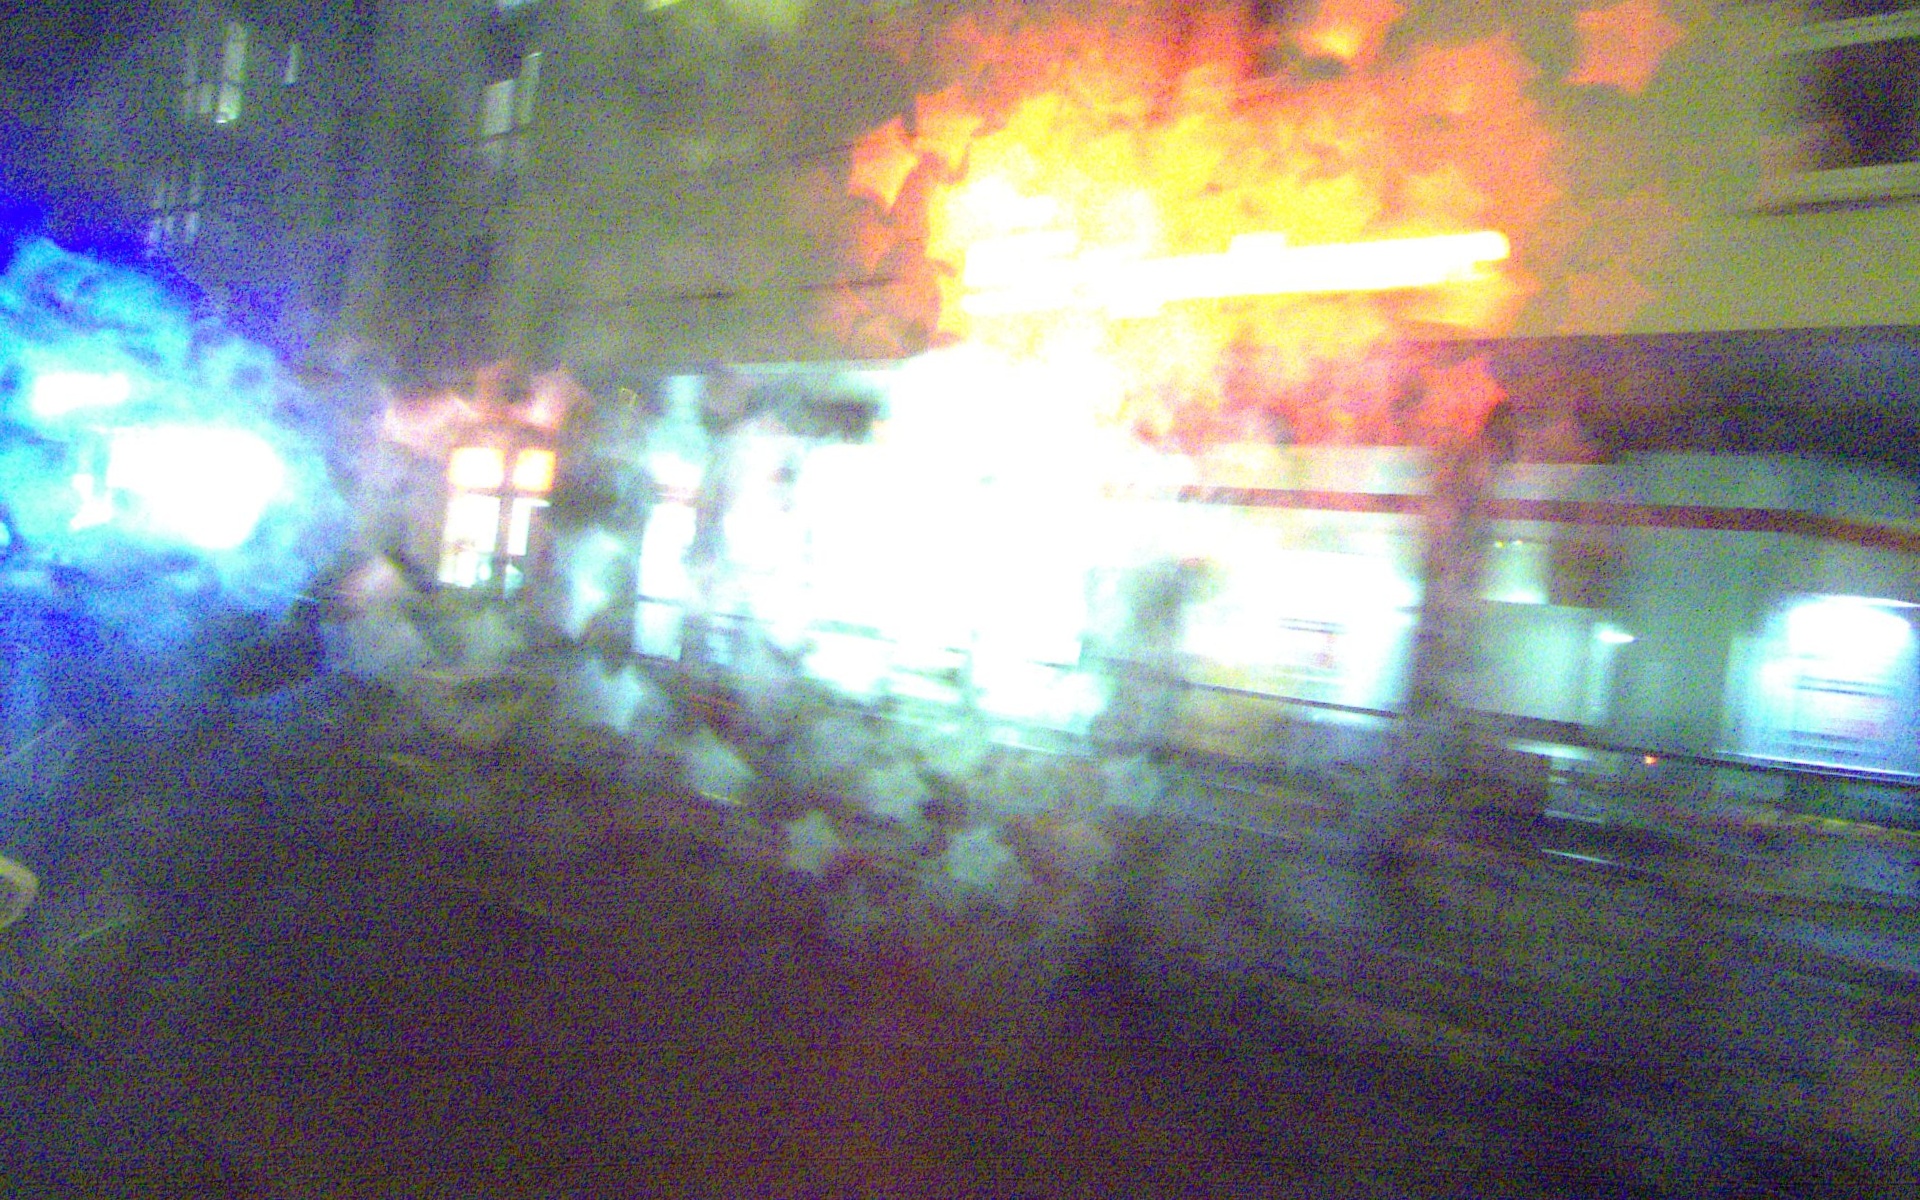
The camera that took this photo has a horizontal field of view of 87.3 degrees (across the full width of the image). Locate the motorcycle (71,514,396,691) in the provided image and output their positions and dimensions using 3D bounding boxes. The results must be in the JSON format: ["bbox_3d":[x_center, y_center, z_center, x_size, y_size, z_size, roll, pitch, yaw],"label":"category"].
[{"bbox_3d":[-6.363,0.010,8.959,0.852,1.337,2.172,7,4,31],"label":"motorcycle"}]

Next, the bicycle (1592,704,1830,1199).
[{"bbox_3d":[2.466,1.070,3.431,0.360,1.220,1.527,6,5,30],"label":"bicycle"}]

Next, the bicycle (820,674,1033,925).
[{"bbox_3d":[-0.117,0.959,5.288,0.360,0.966,1.528,6,5,28],"label":"bicycle"}]

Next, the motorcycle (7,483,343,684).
[{"bbox_3d":[-7.189,-0.149,9.359,0.852,1.610,2.287,7,4,31],"label":"motorcycle"}]

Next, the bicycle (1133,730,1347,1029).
[{"bbox_3d":[1.249,1.092,4.292,0.320,0.846,1.525,7,5,35],"label":"bicycle"}]

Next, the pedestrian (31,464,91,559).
[{"bbox_3d":[-18.242,-1.788,20.411,0.614,1.812,0.702,9,3,35],"label":"pedestrian"}]

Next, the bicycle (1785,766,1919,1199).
[{"bbox_3d":[2.262,1.119,2.191,0.360,1.220,1.527,6,5,30],"label":"bicycle"}]

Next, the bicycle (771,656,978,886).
[{"bbox_3d":[-0.421,0.876,5.626,0.360,0.966,1.528,6,5,27],"label":"bicycle"}]

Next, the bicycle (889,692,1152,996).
[{"bbox_3d":[0.330,0.982,4.473,0.360,0.966,1.525,7,5,35],"label":"bicycle"}]

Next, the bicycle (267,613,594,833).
[{"bbox_3d":[-2.761,0.585,5.385,0.361,0.966,1.524,7,6,39],"label":"bicycle"}]

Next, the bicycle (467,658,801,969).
[{"bbox_3d":[-1.313,0.809,4.335,0.360,0.966,1.528,6,5,28],"label":"bicycle"}]

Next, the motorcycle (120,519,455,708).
[{"bbox_3d":[-5.574,0.092,8.499,0.852,1.337,2.172,7,4,31],"label":"motorcycle"}]

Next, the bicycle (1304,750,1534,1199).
[{"bbox_3d":[1.323,1.075,2.793,0.360,1.038,1.527,6,5,30],"label":"bicycle"}]

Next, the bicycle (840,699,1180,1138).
[{"bbox_3d":[0.253,0.957,3.495,0.360,1.038,1.525,7,5,35],"label":"bicycle"}]

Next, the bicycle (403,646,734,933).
[{"bbox_3d":[-1.691,0.759,4.578,0.360,0.966,1.528,6,5,28],"label":"bicycle"}]

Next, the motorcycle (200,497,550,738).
[{"bbox_3d":[-4.436,0.105,7.830,0.852,1.569,2.172,7,4,31],"label":"motorcycle"}]

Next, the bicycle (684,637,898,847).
[{"bbox_3d":[-0.939,0.763,5.940,0.360,0.966,1.528,6,5,28],"label":"bicycle"}]

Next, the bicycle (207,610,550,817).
[{"bbox_3d":[-3.216,0.573,5.720,0.361,0.966,1.665,7,6,39],"label":"bicycle"}]
